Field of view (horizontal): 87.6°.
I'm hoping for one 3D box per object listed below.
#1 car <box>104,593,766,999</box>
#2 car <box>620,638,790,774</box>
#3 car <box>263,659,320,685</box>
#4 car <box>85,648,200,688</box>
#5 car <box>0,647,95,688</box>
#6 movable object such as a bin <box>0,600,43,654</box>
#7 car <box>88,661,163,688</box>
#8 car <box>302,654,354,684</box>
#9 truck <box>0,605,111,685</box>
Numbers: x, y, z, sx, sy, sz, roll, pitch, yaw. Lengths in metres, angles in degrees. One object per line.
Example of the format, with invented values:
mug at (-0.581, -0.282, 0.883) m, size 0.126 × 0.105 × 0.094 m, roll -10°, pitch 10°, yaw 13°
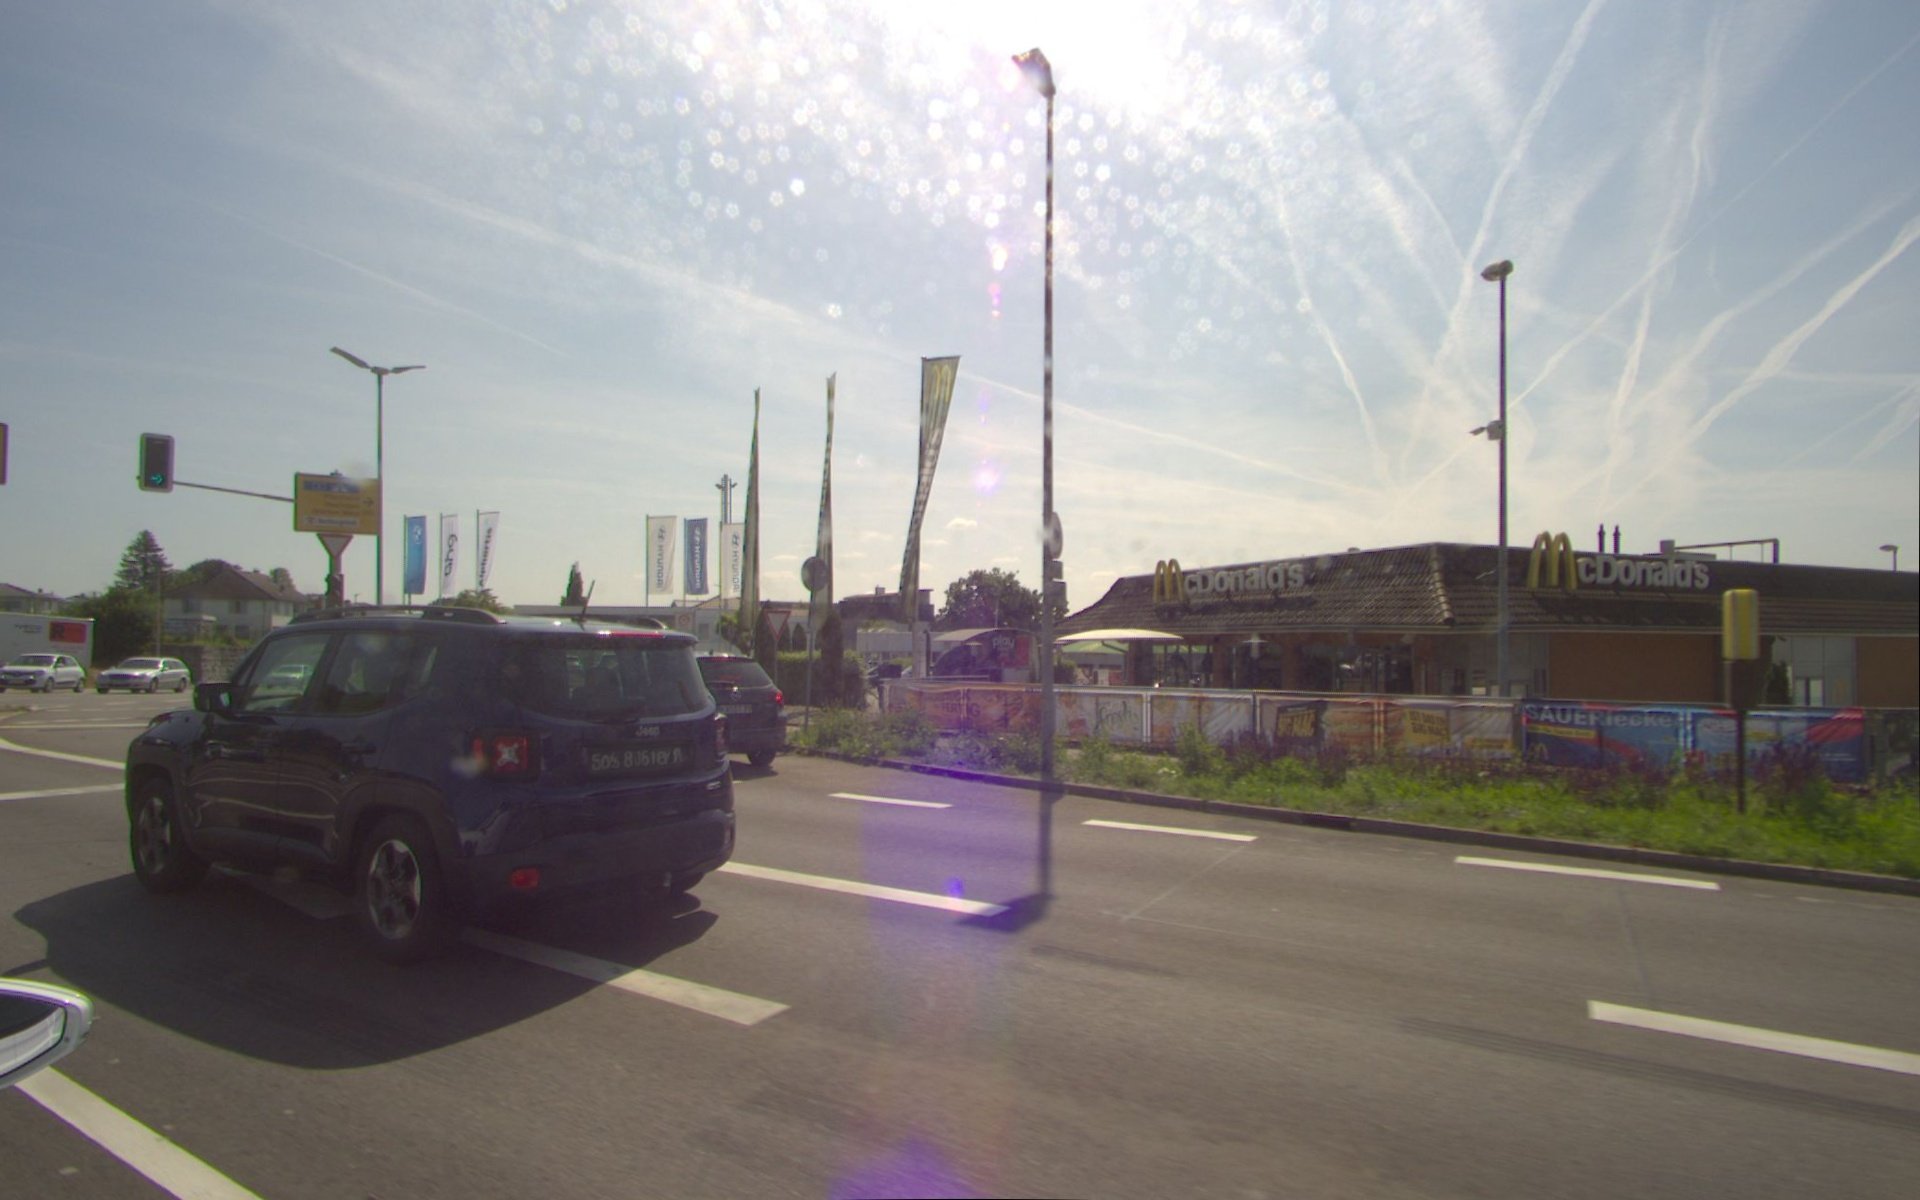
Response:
car at (-3.219, 0.860, 5.951) m, size 3.943 × 1.676 × 1.767 m, roll -1°, pitch -1°, yaw 32°
car at (-3.418, 1.332, 14.108) m, size 1.962 × 1.539 × 4.447 m, roll 0°, pitch -1°, yaw -10°
car at (-40.699, 4.419, 61.073) m, size 1.886 × 1.515 × 3.995 m, roll 2°, pitch -5°, yaw -19°
car at (-33.642, 2.854, 41.404) m, size 1.966 × 1.523 × 4.994 m, roll 2°, pitch -5°, yaw -19°
car at (-36.450, 2.714, 39.885) m, size 1.682 × 1.522 × 3.751 m, roll 2°, pitch -5°, yaw -19°
movable object such as a bin at (-60.128, 1.659, 61.914) m, size 2.853 × 3.249 × 6.686 m, roll 0°, pitch -1°, yaw -22°
car at (-48.990, 4.359, 58.923) m, size 1.966 × 1.478 × 4.314 m, roll 0°, pitch -4°, yaw -19°
car at (-35.194, 3.847, 55.849) m, size 1.970 × 1.594 × 3.986 m, roll 3°, pitch -4°, yaw -26°
truck at (-47.477, 2.091, 48.511) m, size 2.716 × 3.668 × 9.713 m, roll 0°, pitch -7°, yaw 14°
